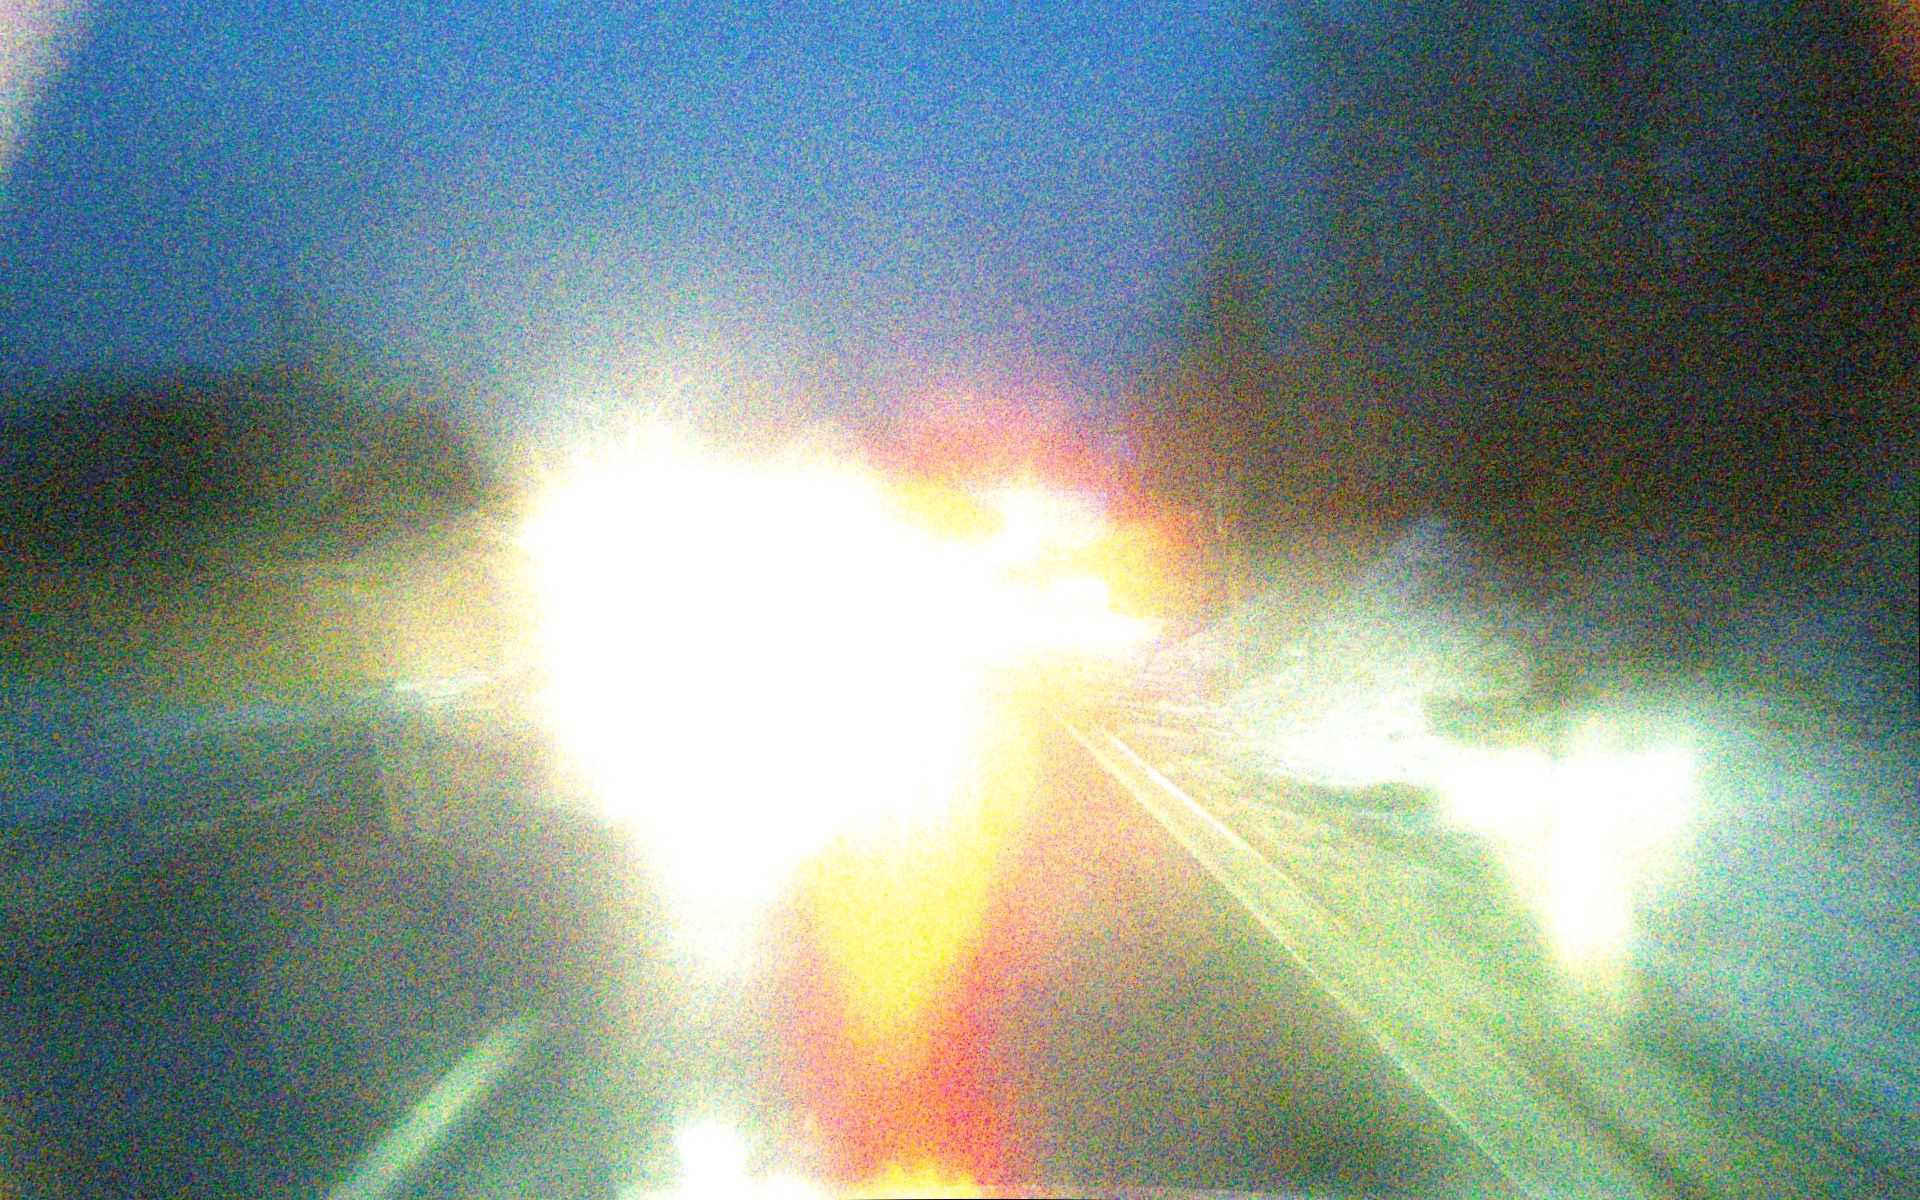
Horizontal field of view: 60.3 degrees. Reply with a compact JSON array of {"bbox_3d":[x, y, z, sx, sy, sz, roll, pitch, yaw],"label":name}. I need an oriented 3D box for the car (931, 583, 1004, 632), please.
[{"bbox_3d":[0.285,0.319,72.862,1.850,2.076,4.366,1,0,-20],"label":"car"}]

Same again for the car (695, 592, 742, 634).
[{"bbox_3d":[-10.767,0.581,73.586,1.940,1.809,3.991,1,0,-10],"label":"car"}]

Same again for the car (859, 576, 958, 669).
[{"bbox_3d":[-0.990,0.390,31.368,1.765,1.657,3.613,0,0,-2],"label":"car"}]

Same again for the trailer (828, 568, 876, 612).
[{"bbox_3d":[-6.128,-0.564,93.547,1.604,2.406,4.630,2,0,-17],"label":"trailer"}]

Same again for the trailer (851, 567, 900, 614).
[{"bbox_3d":[-4.553,-0.522,88.857,1.580,2.393,4.411,2,0,-16],"label":"trailer"}]
